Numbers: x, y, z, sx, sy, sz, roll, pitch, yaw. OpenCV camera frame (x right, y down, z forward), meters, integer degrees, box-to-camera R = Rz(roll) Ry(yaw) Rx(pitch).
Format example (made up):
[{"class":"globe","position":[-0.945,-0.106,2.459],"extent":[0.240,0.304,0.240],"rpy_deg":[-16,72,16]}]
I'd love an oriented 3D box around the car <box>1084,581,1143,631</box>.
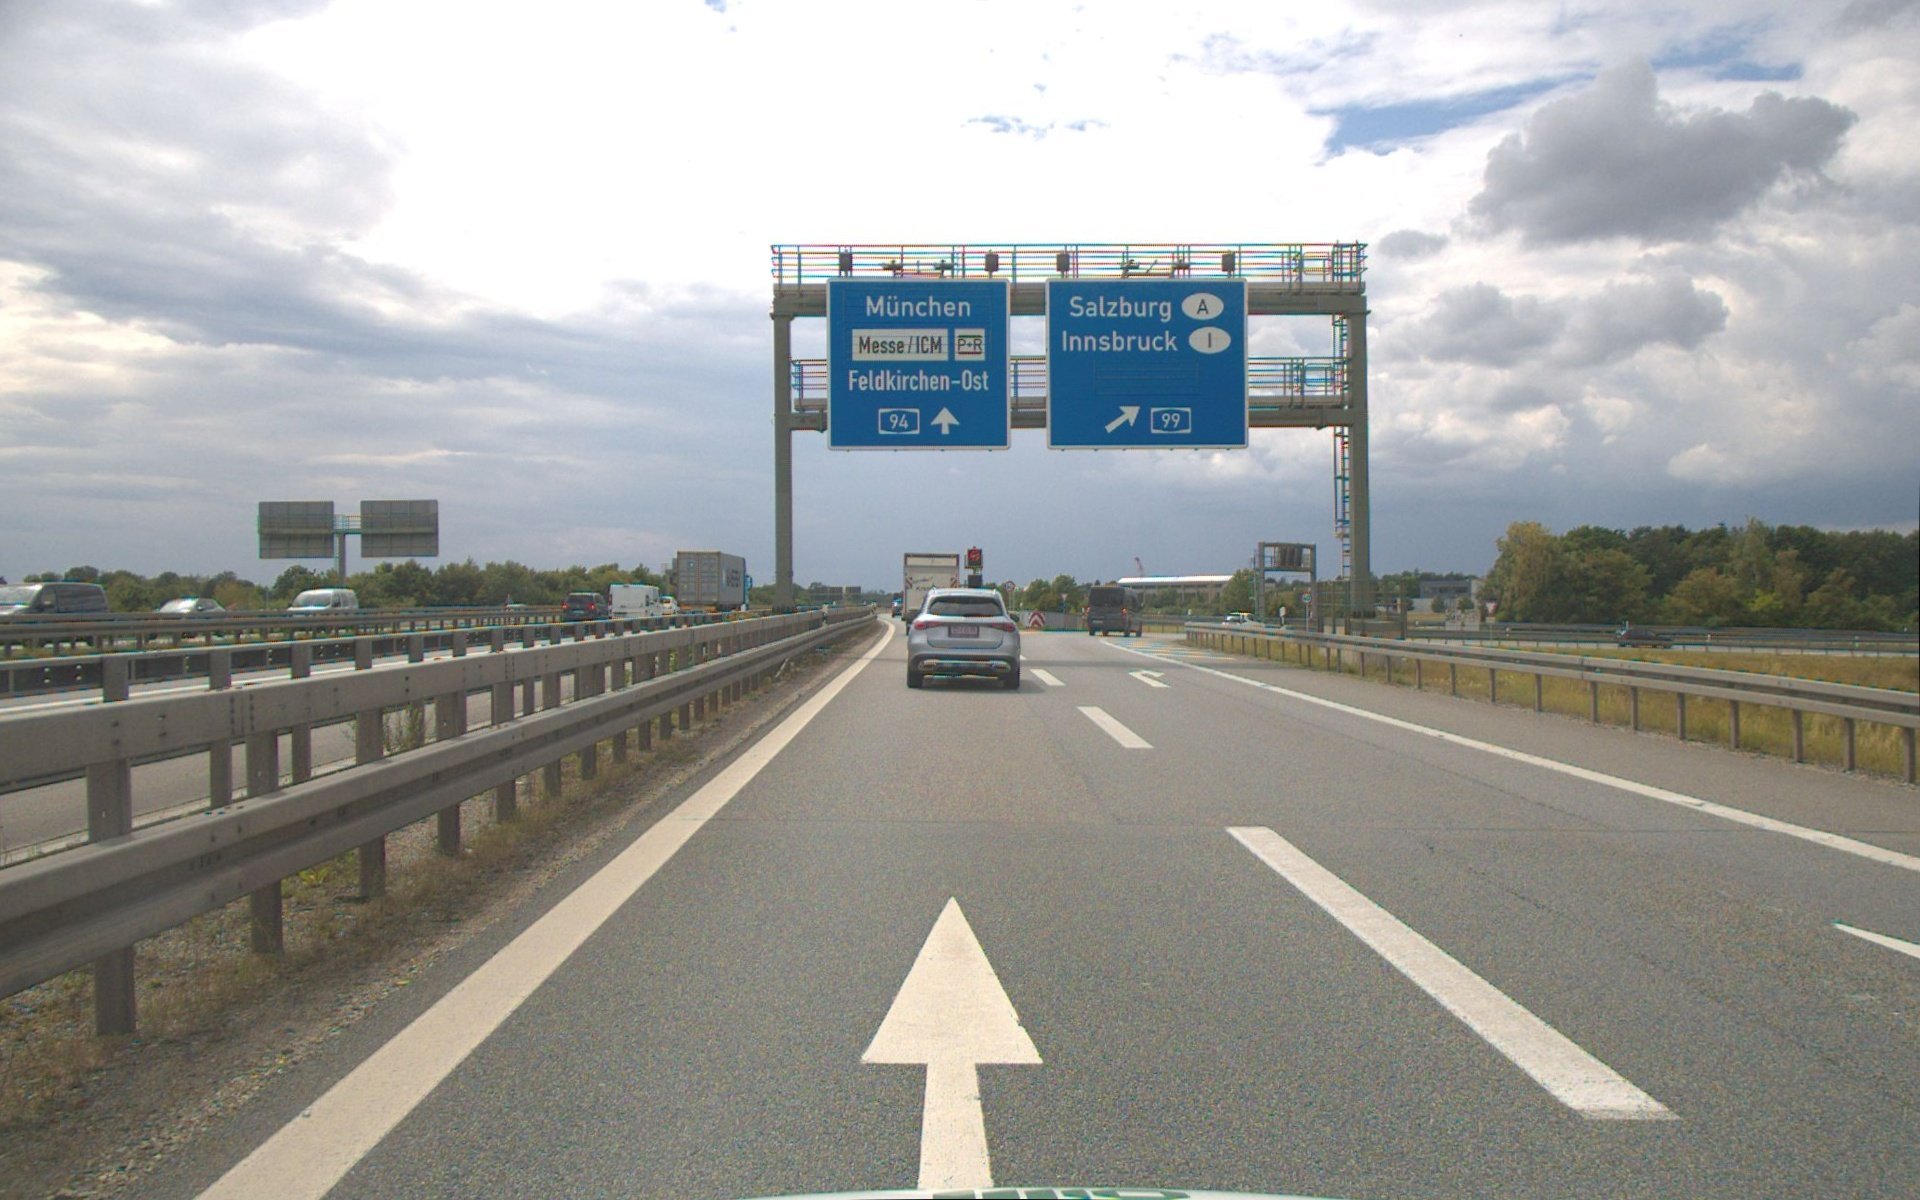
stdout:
[{"class":"car","position":[7.457,0.254,79.896],"extent":[1.866,2.301,4.651],"rpy_deg":[1,0,17]}]

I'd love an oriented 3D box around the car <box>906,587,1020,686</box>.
[{"class":"car","position":[0.020,0.559,28.258],"extent":[1.782,1.541,4.000],"rpy_deg":[1,0,-1]}]

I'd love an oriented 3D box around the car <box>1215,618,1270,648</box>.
[{"class":"car","position":[17.965,2.072,104.961],"extent":[1.959,1.739,3.986],"rpy_deg":[1,1,35]}]

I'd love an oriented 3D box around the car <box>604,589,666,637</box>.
[{"class":"car","position":[-14.700,0.549,74.938],"extent":[1.953,2.049,4.374],"rpy_deg":[1,0,-1]}]

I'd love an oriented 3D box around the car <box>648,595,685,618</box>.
[{"class":"car","position":[-18.972,0.417,107.183],"extent":[1.761,1.444,3.999],"rpy_deg":[1,0,-2]}]

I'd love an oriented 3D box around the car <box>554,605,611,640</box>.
[{"class":"car","position":[-18.574,1.103,81.582],"extent":[1.843,1.573,4.614],"rpy_deg":[1,0,-1]}]

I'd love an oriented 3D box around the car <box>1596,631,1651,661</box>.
[{"class":"car","position":[51.707,3.600,128.870],"extent":[3.942,2.048,1.767],"rpy_deg":[4,-1,-29]}]

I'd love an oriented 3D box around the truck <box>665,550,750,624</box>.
[{"class":"truck","position":[-15.061,-0.802,100.159],"extent":[3.119,4.089,16.069],"rpy_deg":[1,1,-2]}]

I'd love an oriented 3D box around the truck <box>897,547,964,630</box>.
[{"class":"truck","position":[-1.185,-0.379,68.078],"extent":[2.517,3.181,8.632],"rpy_deg":[1,-1,-1]}]
